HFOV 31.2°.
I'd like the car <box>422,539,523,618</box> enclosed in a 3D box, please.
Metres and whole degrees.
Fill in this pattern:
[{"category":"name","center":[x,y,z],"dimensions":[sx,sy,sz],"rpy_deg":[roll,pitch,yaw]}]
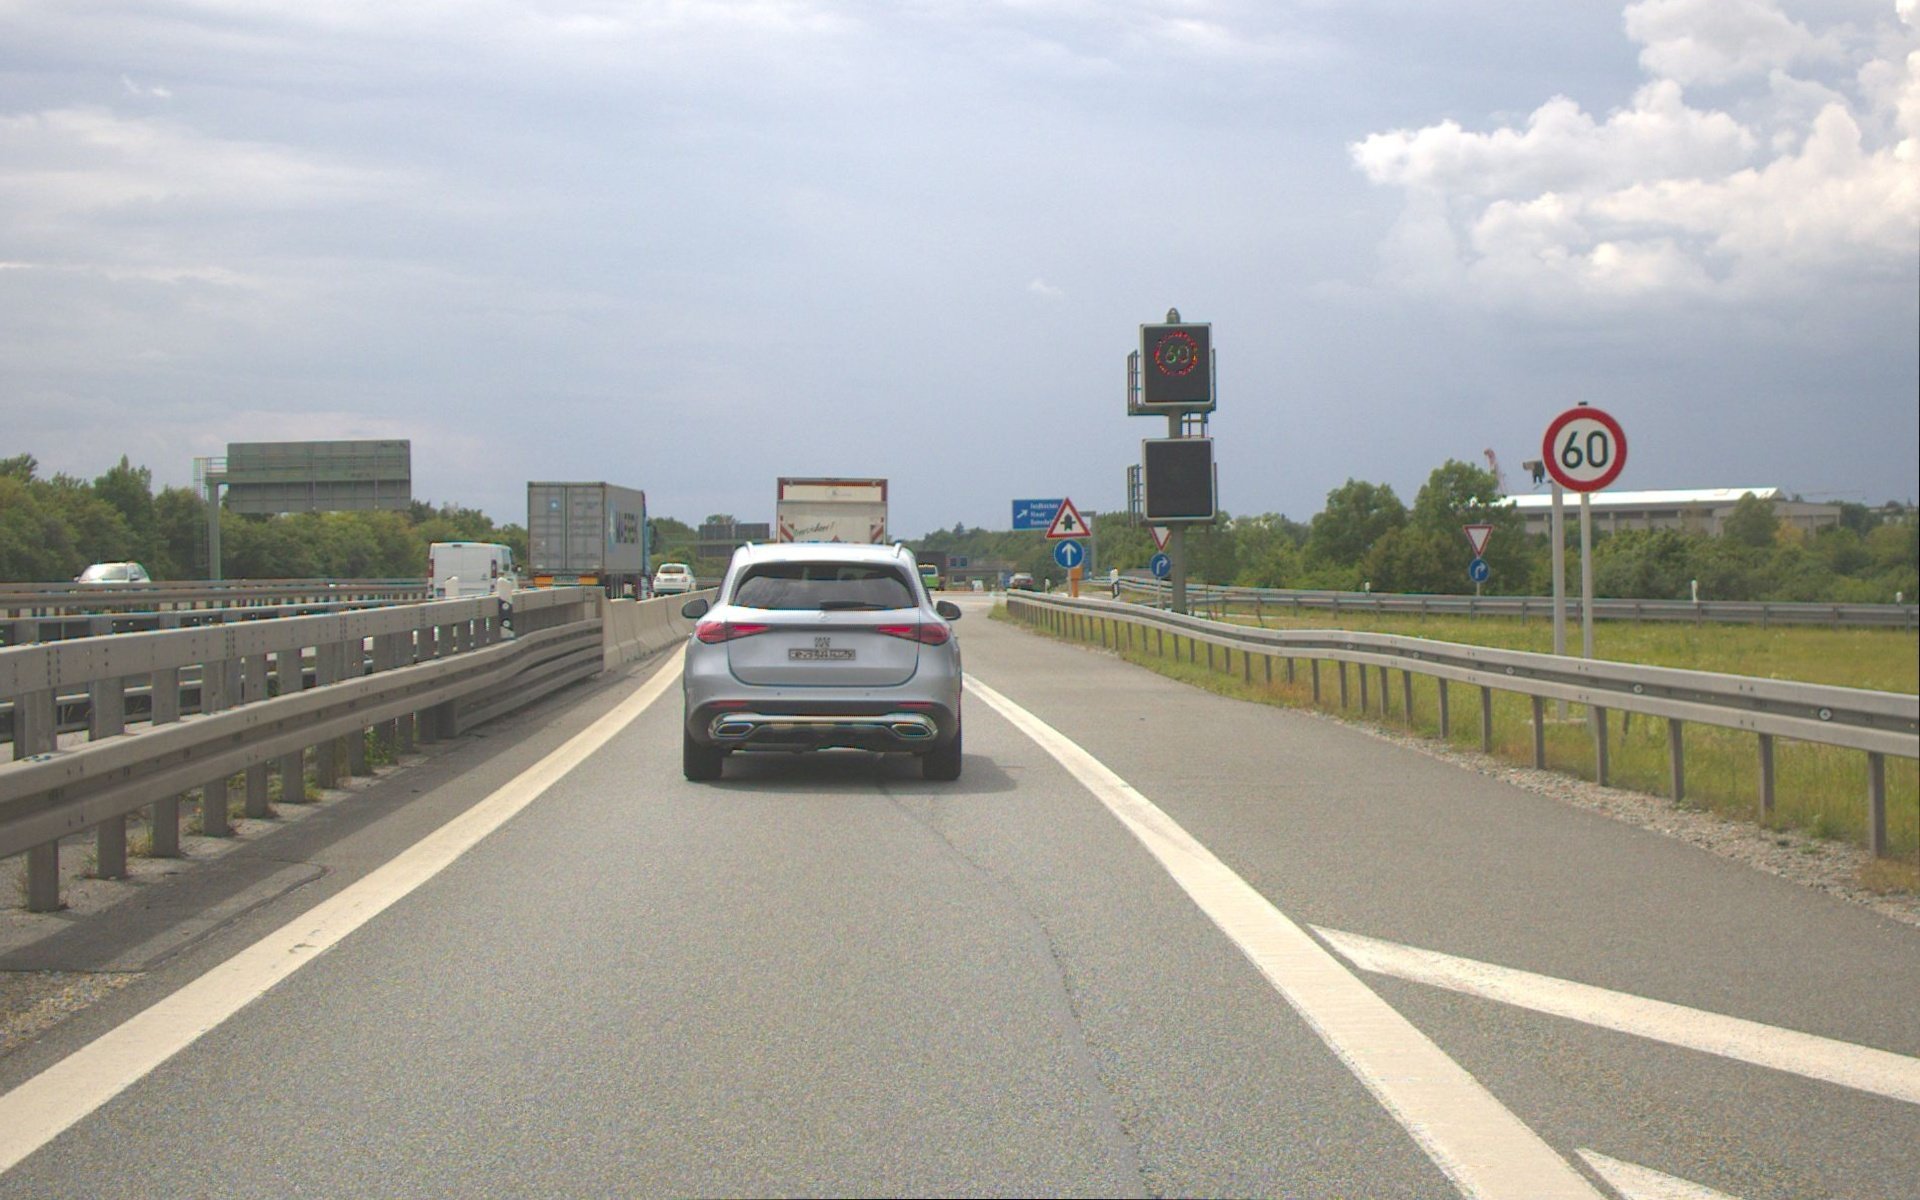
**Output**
[{"category":"car","center":[-12.988,-0.601,91.816],"dimensions":[1.993,2.006,4.374],"rpy_deg":[1,2,1]}]

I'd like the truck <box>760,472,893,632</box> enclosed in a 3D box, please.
[{"category":"truck","center":[-2.720,-0.981,72.175],"dimensions":[2.569,3.115,8.635],"rpy_deg":[1,0,-1]}]

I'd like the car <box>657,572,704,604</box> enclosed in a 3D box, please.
[{"category":"car","center":[-12.278,-0.549,151.232],"dimensions":[1.696,1.283,4.000],"rpy_deg":[1,2,1]}]

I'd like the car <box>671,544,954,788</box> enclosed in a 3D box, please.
[{"category":"car","center":[-0.998,0.397,24.348],"dimensions":[1.819,1.509,4.001],"rpy_deg":[1,2,-1]}]

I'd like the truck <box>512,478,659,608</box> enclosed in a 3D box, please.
[{"category":"truck","center":[-12.358,-2.007,114.995],"dimensions":[3.183,4.005,16.076],"rpy_deg":[1,2,0]}]
